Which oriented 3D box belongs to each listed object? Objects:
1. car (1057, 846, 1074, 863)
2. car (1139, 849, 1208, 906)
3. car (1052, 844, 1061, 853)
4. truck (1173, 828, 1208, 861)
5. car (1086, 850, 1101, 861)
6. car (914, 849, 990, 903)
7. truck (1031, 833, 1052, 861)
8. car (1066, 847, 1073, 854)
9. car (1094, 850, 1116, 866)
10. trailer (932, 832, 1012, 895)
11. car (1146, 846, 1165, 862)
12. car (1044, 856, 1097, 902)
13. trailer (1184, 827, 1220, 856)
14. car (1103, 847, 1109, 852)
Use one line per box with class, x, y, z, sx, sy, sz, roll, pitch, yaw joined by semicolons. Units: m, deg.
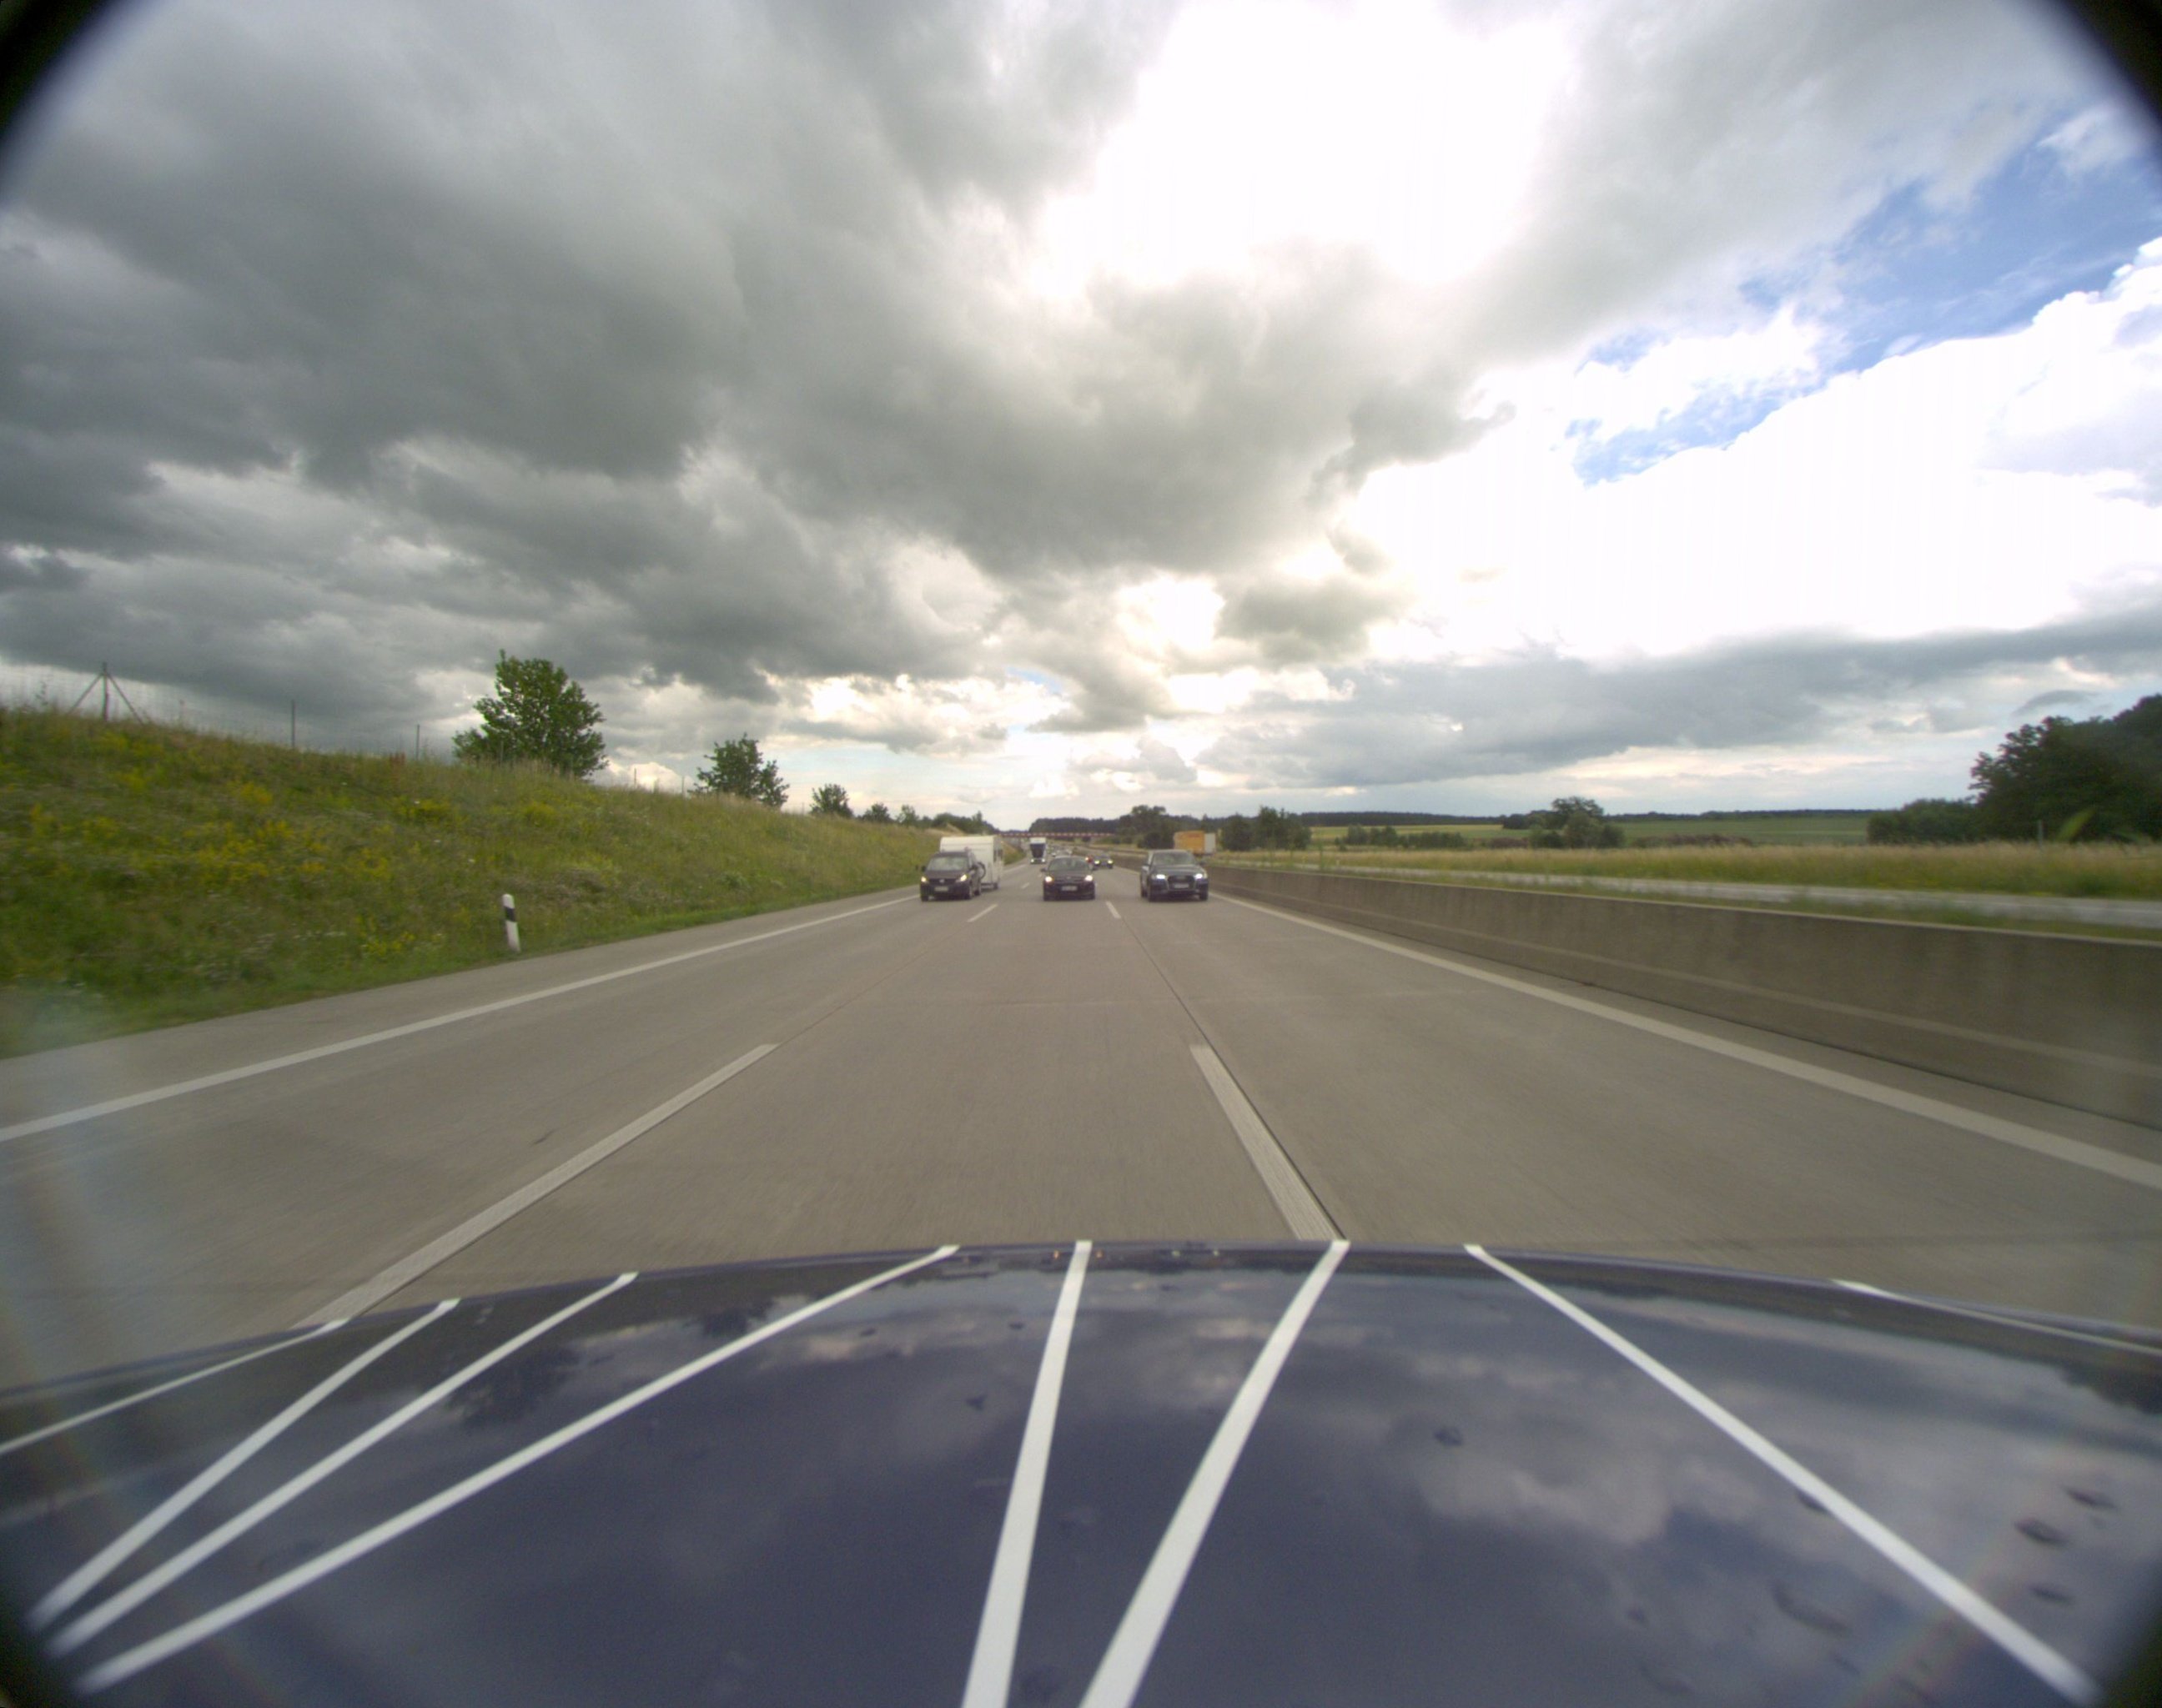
car;-1.939;0.067;93.335;1.999;2.002;3.999;-1;0;-1
car;2.908;0.668;24.800;1.797;1.587;5.157;-2;1;2
car;-5.887;-1.380;184.051;1.998;2.002;3.999;-2;1;1
truck;13.901;-1.194;97.551;2.824;4.015;10.566;-1;0;0
car;1.687;0.192;102.273;1.821;1.364;3.783;-2;1;4
car;-4.713;0.735;28.513;1.944;1.799;5.031;-1;1;0
truck;-6.253;-1.128;121.485;2.855;4.176;10.707;-1;0;-1
car;-3.230;-1.074;212.201;1.999;2.002;3.998;-1;1;-2
car;2.401;0.405;74.312;1.939;1.464;4.001;-1;0;4
trailer;-4.765;0.330;34.385;2.615;2.520;6.720;-1;1;0
car;9.759;0.019;99.548;1.817;1.951;5.338;-2;1;-1
car;-0.343;0.810;26.606;1.691;1.405;3.999;-1;1;0
trailer;17.556;-1.762;111.269;2.847;4.014;13.905;-1;0;0
car;6.879;-1.273;207.674;1.571;1.344;3.472;-1;1;0
